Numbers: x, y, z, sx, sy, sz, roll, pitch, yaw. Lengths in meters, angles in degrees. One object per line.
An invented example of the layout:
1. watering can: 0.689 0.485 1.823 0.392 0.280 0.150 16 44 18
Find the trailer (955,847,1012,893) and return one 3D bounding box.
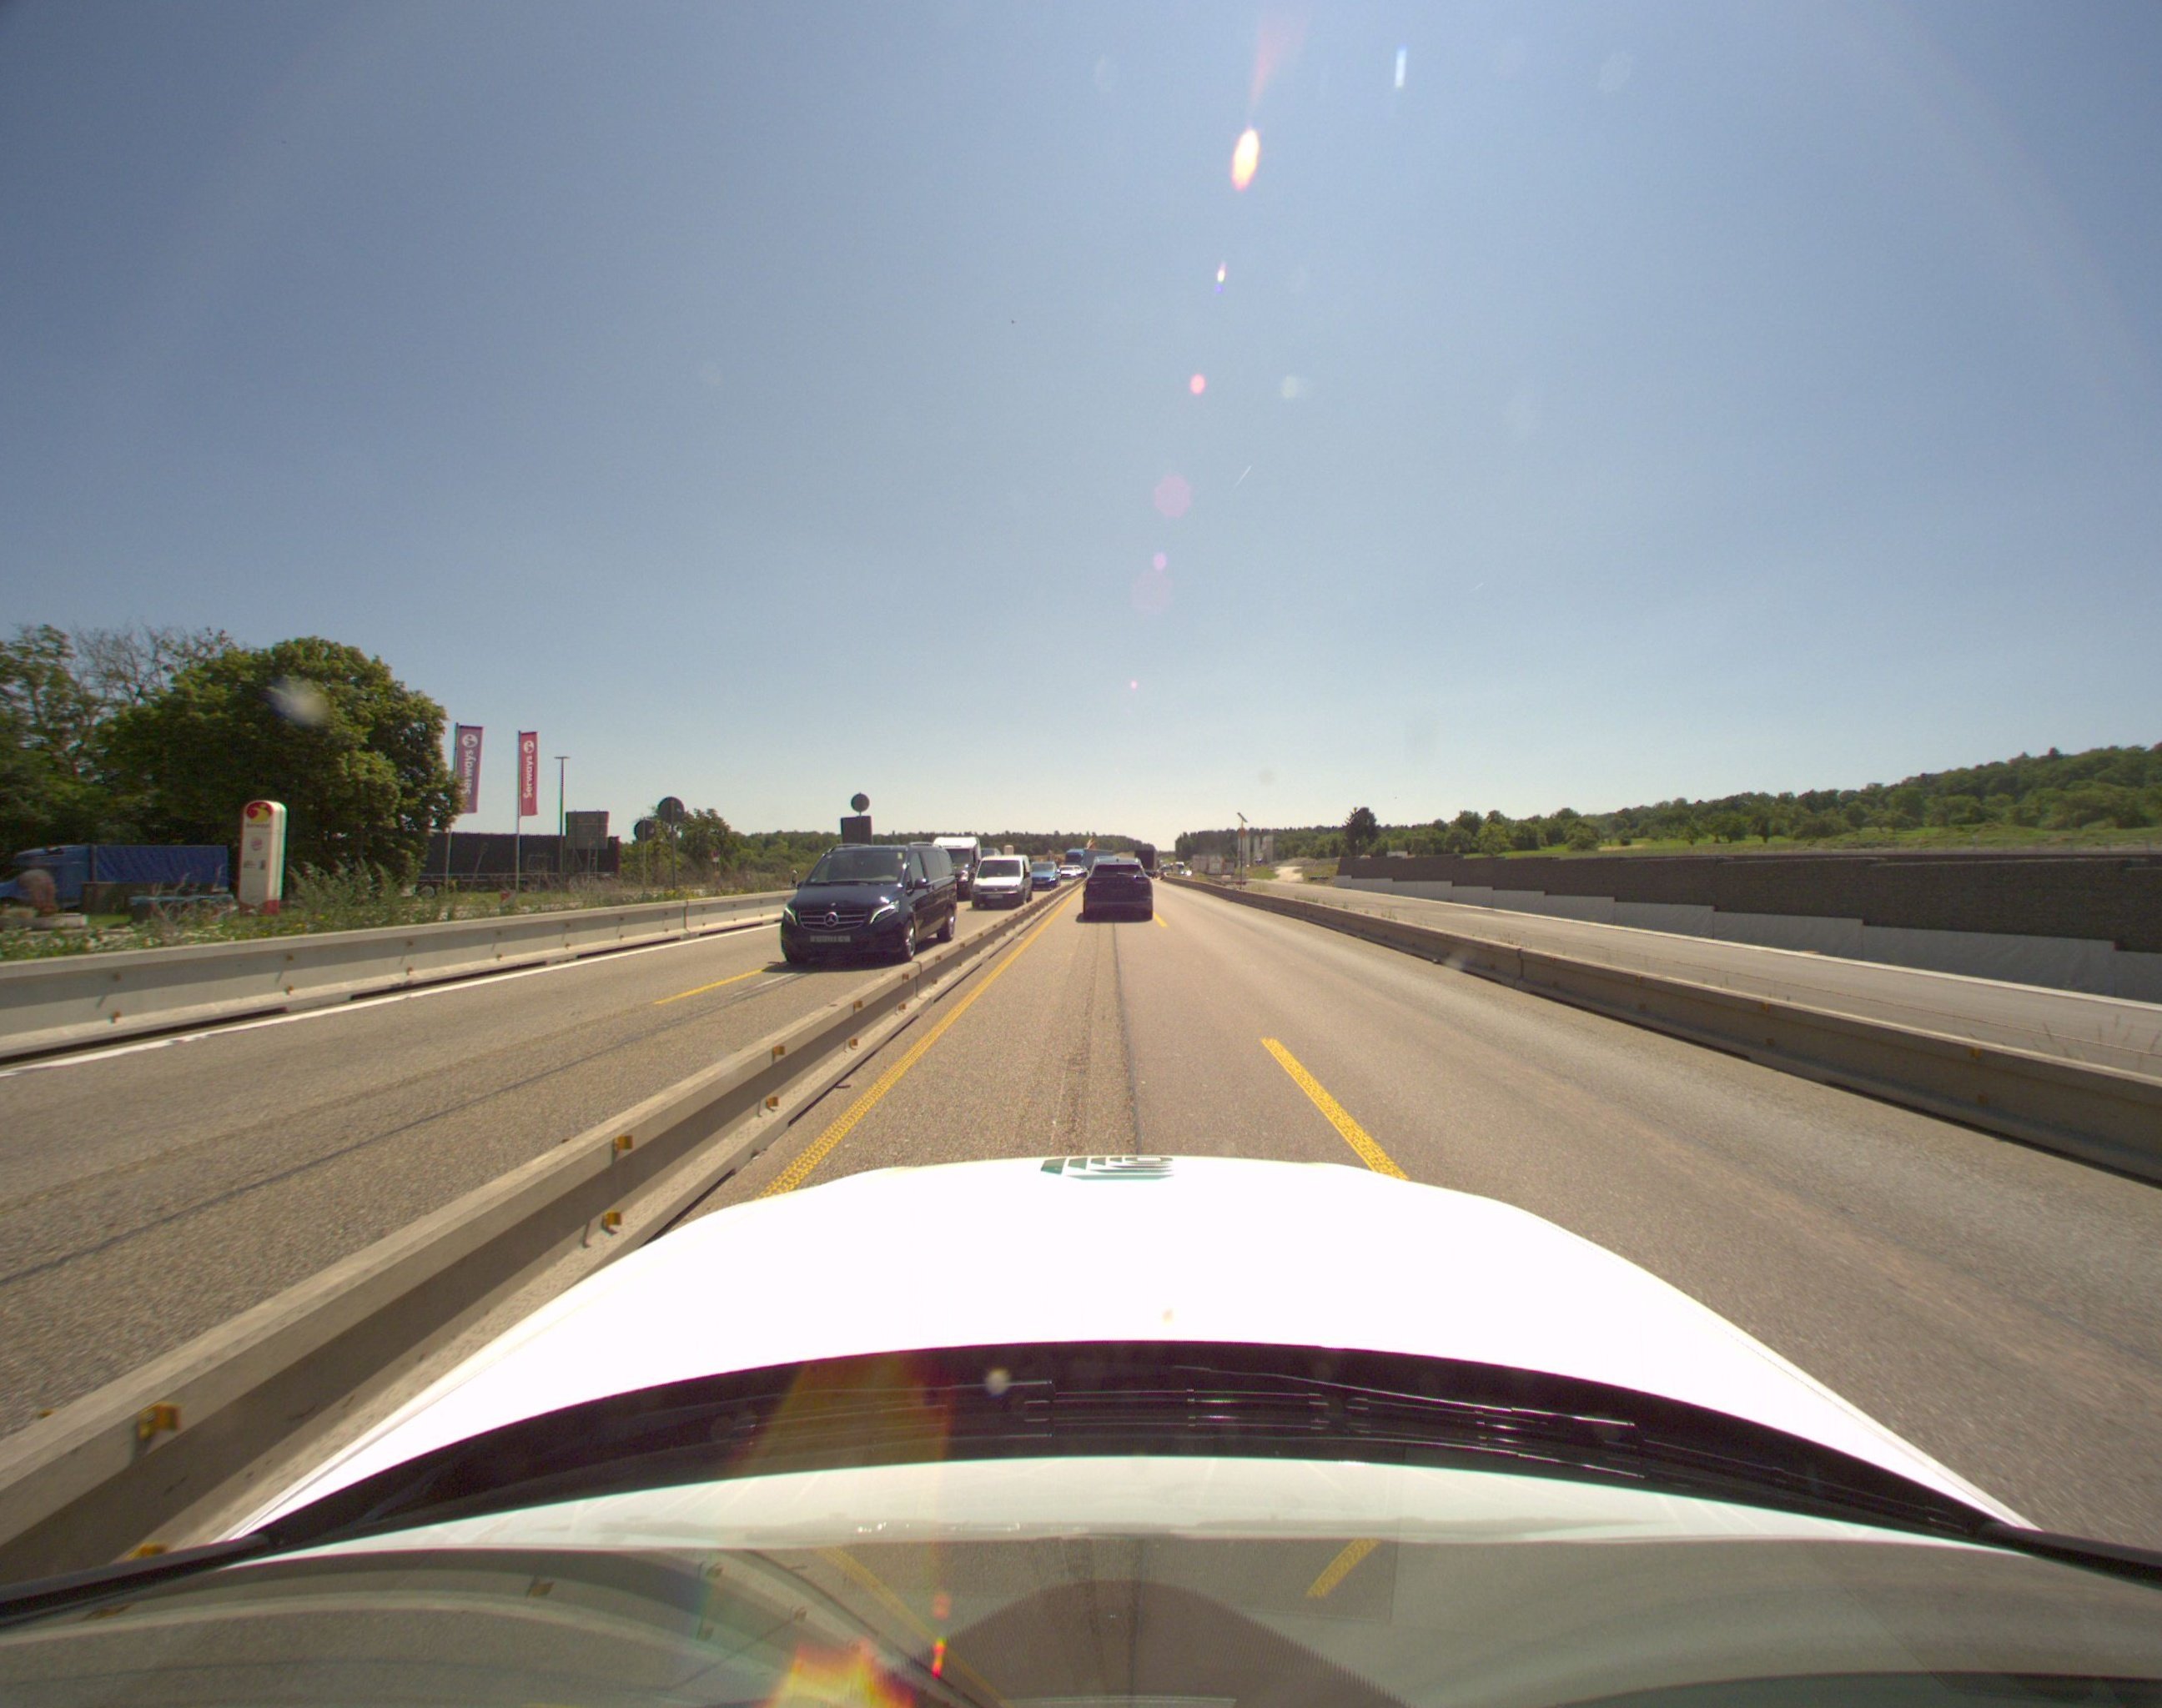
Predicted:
1. trailer: -5.118 0.805 43.643 2.173 2.314 5.616 -1 0 2

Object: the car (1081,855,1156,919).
1. car: 1.016 0.839 22.207 1.835 1.582 4.002 -1 -1 2

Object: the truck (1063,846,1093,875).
1. truck: -0.331 0.914 119.427 2.893 4.129 6.162 0 -1 15

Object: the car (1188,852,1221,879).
1. car: 20.736 1.931 136.438 3.408 4.101 9.241 4 -1 20

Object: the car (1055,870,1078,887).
1. car: -1.309 2.221 74.932 1.810 1.376 4.248 -2 0 1

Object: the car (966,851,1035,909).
1. car: -2.726 0.824 28.640 1.847 1.839 4.592 -1 0 1

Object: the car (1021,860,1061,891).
1. car: -2.204 1.165 45.549 1.897 1.608 4.002 0 0 2

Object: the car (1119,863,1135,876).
1. car: 6.170 2.096 108.496 1.811 1.644 3.873 2 -1 7

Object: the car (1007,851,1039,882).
1. car: -4.834 1.018 68.572 1.907 2.399 6.454 -3 -1 1

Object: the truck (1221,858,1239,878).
1. truck: 35.796 3.382 195.317 3.452 4.220 10.412 5 0 13

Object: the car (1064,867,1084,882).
1. car: -0.730 2.261 89.970 2.009 1.444 4.589 -1 0 1

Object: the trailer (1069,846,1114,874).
1. trailer: 1.750 0.968 125.887 2.891 4.129 13.980 0 -1 18

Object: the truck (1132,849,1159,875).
1. truck: 7.684 0.943 96.745 2.656 2.945 5.636 -1 0 10

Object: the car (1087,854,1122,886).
1. car: 1.385 0.948 49.155 1.987 1.844 4.000 1 -1 1

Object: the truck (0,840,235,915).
1. truck: -44.022 1.020 37.036 2.794 3.064 7.161 -1 -1 23

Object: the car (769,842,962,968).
1. car: -3.492 0.724 14.329 1.900 1.804 5.083 -1 0 1

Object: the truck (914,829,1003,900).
1. truck: -5.316 0.476 36.771 2.470 2.824 8.132 -1 -1 2

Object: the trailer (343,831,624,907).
1. trailer: -36.658 0.863 51.237 3.120 4.111 14.250 -1 -1 29

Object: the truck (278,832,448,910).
1. truck: -39.812 0.928 45.385 3.120 3.985 6.385 -1 -1 29
